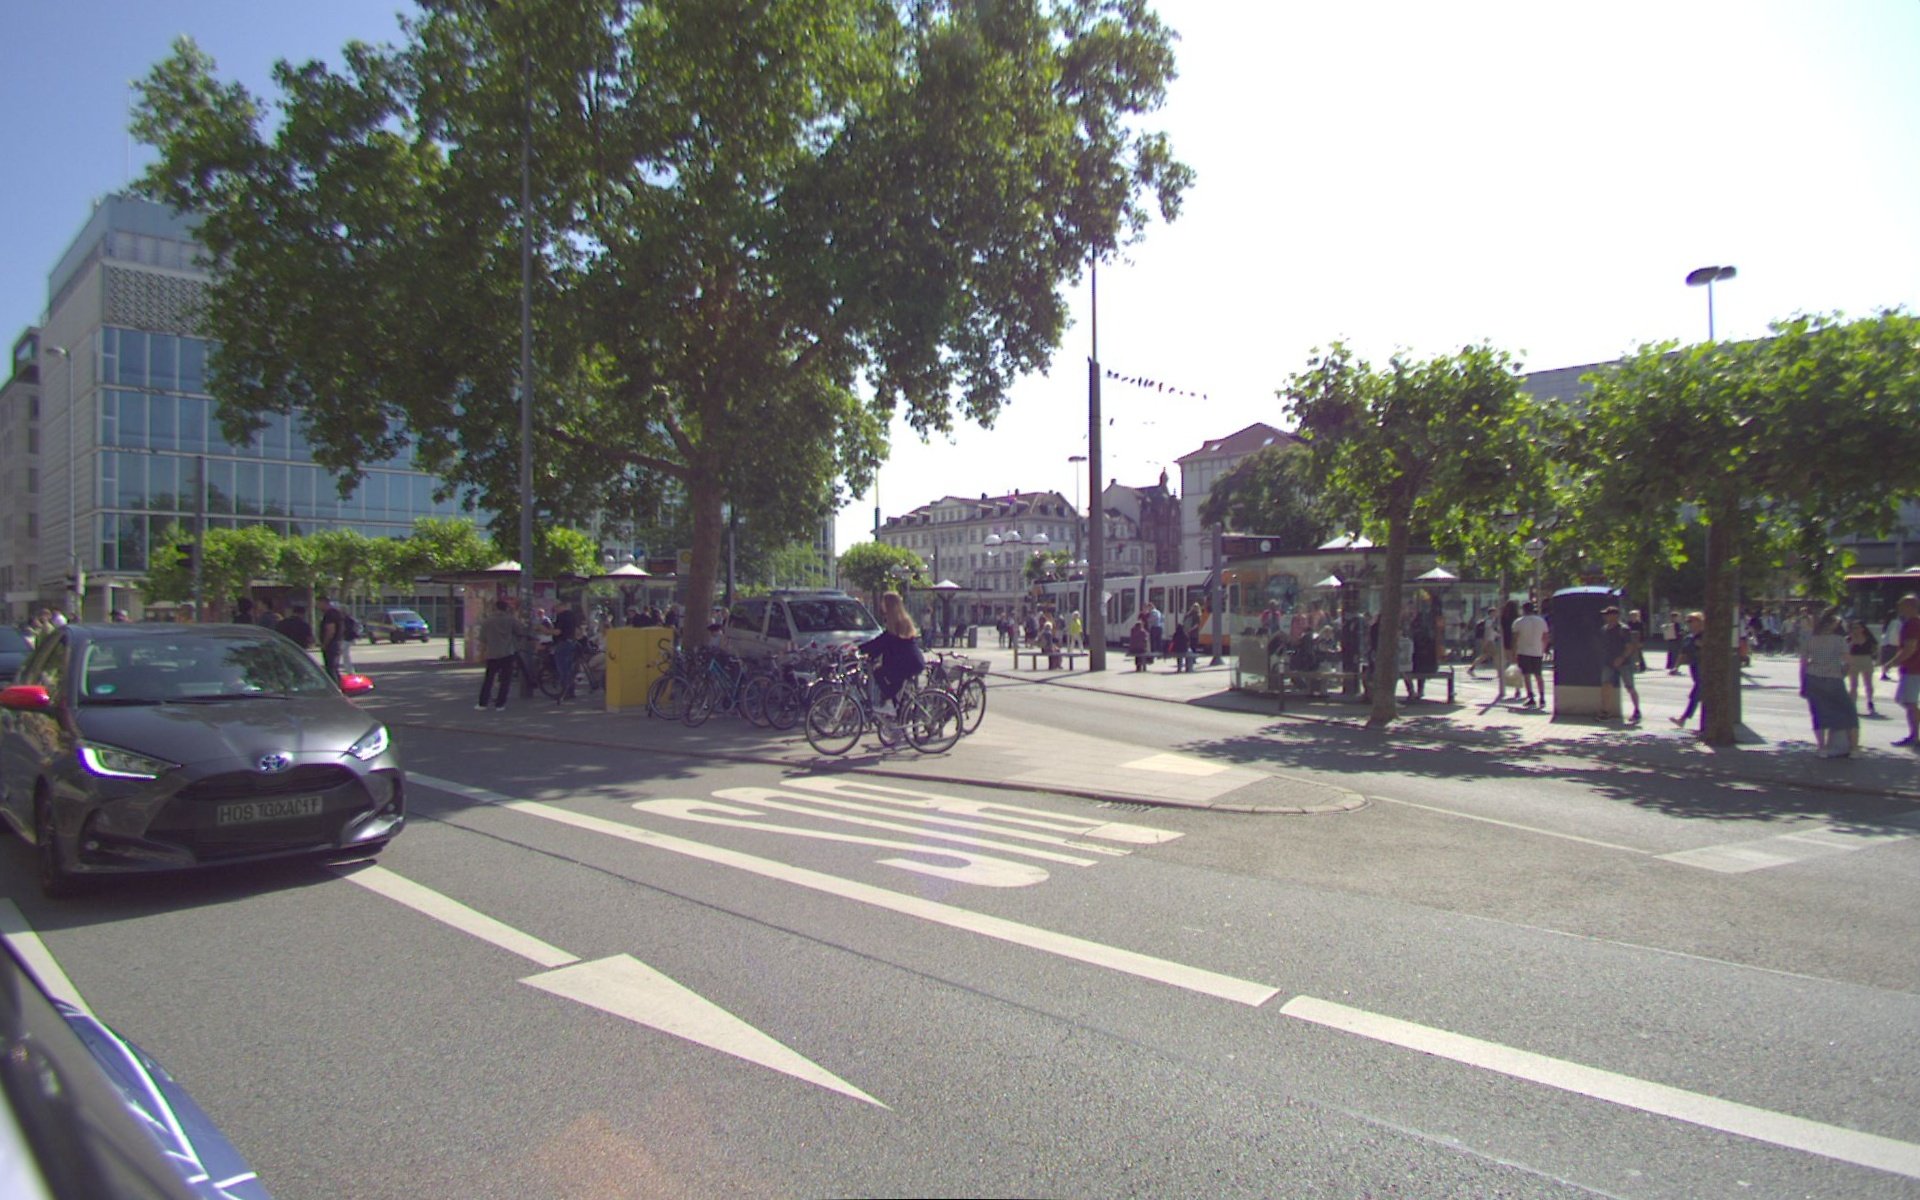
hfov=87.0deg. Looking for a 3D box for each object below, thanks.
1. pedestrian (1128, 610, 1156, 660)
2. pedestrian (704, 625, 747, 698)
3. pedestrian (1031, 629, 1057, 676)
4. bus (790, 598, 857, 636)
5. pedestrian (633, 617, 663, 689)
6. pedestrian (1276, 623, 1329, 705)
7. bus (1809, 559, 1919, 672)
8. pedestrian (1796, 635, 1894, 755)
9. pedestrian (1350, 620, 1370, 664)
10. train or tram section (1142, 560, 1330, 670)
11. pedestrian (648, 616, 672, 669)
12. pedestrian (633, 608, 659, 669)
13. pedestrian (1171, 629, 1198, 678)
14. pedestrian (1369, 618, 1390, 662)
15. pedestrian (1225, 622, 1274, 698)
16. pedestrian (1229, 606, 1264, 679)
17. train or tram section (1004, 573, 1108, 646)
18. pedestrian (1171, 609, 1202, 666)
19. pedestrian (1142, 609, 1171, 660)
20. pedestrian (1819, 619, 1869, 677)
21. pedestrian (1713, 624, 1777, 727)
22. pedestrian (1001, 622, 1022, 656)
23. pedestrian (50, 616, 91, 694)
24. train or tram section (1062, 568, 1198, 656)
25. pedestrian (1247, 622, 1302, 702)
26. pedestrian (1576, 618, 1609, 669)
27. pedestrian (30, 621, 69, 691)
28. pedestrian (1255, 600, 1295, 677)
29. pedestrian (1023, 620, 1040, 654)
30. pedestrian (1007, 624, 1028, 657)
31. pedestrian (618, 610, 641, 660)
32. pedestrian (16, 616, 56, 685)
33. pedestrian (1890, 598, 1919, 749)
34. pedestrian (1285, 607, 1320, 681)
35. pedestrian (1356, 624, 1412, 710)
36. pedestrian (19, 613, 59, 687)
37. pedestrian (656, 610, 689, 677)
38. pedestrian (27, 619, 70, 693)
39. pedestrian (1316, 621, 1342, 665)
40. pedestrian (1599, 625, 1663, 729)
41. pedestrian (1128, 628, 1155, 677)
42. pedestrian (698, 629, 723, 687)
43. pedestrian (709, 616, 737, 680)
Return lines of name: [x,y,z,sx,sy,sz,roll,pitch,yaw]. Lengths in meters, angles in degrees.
pedestrian: [5.749,1.122,31.964,0.669,1.561,0.580,2,-4,-16]
pedestrian: [-5.916,1.540,25.542,0.780,1.760,0.662,-1,0,30]
pedestrian: [2.307,1.433,27.822,0.483,1.262,0.491,-1,0,39]
bus: [-11.286,1.299,85.096,2.362,2.811,12.155,-1,0,8]
pedestrian: [-6.663,1.123,21.628,0.570,1.472,0.788,-2,0,-16]
pedestrian: [6.336,1.180,18.730,0.614,1.477,0.682,2,-4,-29]
bus: [32.358,0.402,28.598,3.014,3.445,12.497,-2,0,-31]
pedestrian: [9.600,1.012,10.988,0.568,1.243,0.555,0,-1,-16]
pedestrian: [14.390,1.528,36.403,0.573,1.561,0.677,0,-4,14]
train or tram section: [10.686,0.513,40.674,2.577,3.856,9.547,-2,0,-16]
pedestrian: [-8.976,1.262,30.289,0.484,1.537,0.456,-2,0,-42]
pedestrian: [-9.218,1.124,29.712,0.547,1.740,0.492,-2,0,-42]
pedestrian: [5.608,1.346,25.284,0.524,1.211,0.540,-1,-4,29]
pedestrian: [15.124,1.443,36.520,0.573,1.561,0.677,0,-4,14]
pedestrian: [5.733,1.166,20.051,0.614,1.476,0.682,1,-2,-29]
pedestrian: [7.464,1.111,26.380,0.568,1.855,0.682,2,-4,-29]
train or tram section: [5.359,0.514,58.911,2.577,3.856,9.547,-2,0,-16]
pedestrian: [6.329,1.066,28.289,0.657,1.561,0.566,-3,-5,42]
pedestrian: [6.051,1.074,31.200,0.669,1.561,0.580,3,-4,-29]
pedestrian: [22.734,1.240,26.032,0.672,1.477,0.624,0,-4,7]
pedestrian: [11.633,1.112,14.992,0.680,1.477,0.616,-2,-5,40]
pedestrian: [2.303,1.742,45.110,0.547,1.483,0.759,-2,0,-42]
pedestrian: [-20.189,1.240,22.965,0.651,1.726,0.568,-1,0,39]
train or tram section: [8.076,0.513,49.771,2.577,3.856,9.547,-2,0,-16]
pedestrian: [5.995,1.184,19.297,0.716,1.477,0.682,2,-4,-29]
pedestrian: [18.748,1.297,29.986,0.616,1.477,0.681,4,-5,-44]
pedestrian: [-23.600,1.429,26.245,0.605,1.760,0.631,-1,0,39]
pedestrian: [7.470,0.924,23.984,0.568,1.791,0.682,2,-4,-29]
pedestrian: [3.246,1.675,45.848,0.547,1.483,0.456,-2,0,-42]
pedestrian: [2.667,1.893,47.149,0.547,1.483,0.759,-2,0,-42]
pedestrian: [-9.893,1.035,30.302,0.449,1.483,0.556,-2,0,-42]
pedestrian: [-24.270,1.303,26.589,0.732,1.760,0.631,-1,0,39]
pedestrian: [11.485,0.856,11.781,0.614,1.759,0.682,2,-4,-16]
pedestrian: [8.389,1.086,24.799,0.578,1.791,0.671,-3,-5,43]
pedestrian: [7.486,1.182,17.893,0.670,1.477,0.625,1,-4,-3]
pedestrian: [-24.779,1.336,27.231,0.859,1.934,0.631,-1,0,39]
pedestrian: [-7.636,1.150,26.922,0.611,1.760,0.532,-1,0,30]
pedestrian: [-22.325,1.357,24.784,0.732,1.760,0.631,-1,0,39]
pedestrian: [13.439,1.579,36.852,0.568,1.561,0.683,2,-4,-23]
pedestrian: [9.804,1.113,14.791,0.680,1.477,0.616,-2,-5,40]
pedestrian: [4.662,1.359,26.009,0.551,1.243,0.573,-1,-4,29]
pedestrian: [-5.480,1.266,22.233,0.493,1.215,0.461,-2,0,-16]
pedestrian: [-6.339,1.271,27.037,0.470,1.681,0.498,-1,0,30]
